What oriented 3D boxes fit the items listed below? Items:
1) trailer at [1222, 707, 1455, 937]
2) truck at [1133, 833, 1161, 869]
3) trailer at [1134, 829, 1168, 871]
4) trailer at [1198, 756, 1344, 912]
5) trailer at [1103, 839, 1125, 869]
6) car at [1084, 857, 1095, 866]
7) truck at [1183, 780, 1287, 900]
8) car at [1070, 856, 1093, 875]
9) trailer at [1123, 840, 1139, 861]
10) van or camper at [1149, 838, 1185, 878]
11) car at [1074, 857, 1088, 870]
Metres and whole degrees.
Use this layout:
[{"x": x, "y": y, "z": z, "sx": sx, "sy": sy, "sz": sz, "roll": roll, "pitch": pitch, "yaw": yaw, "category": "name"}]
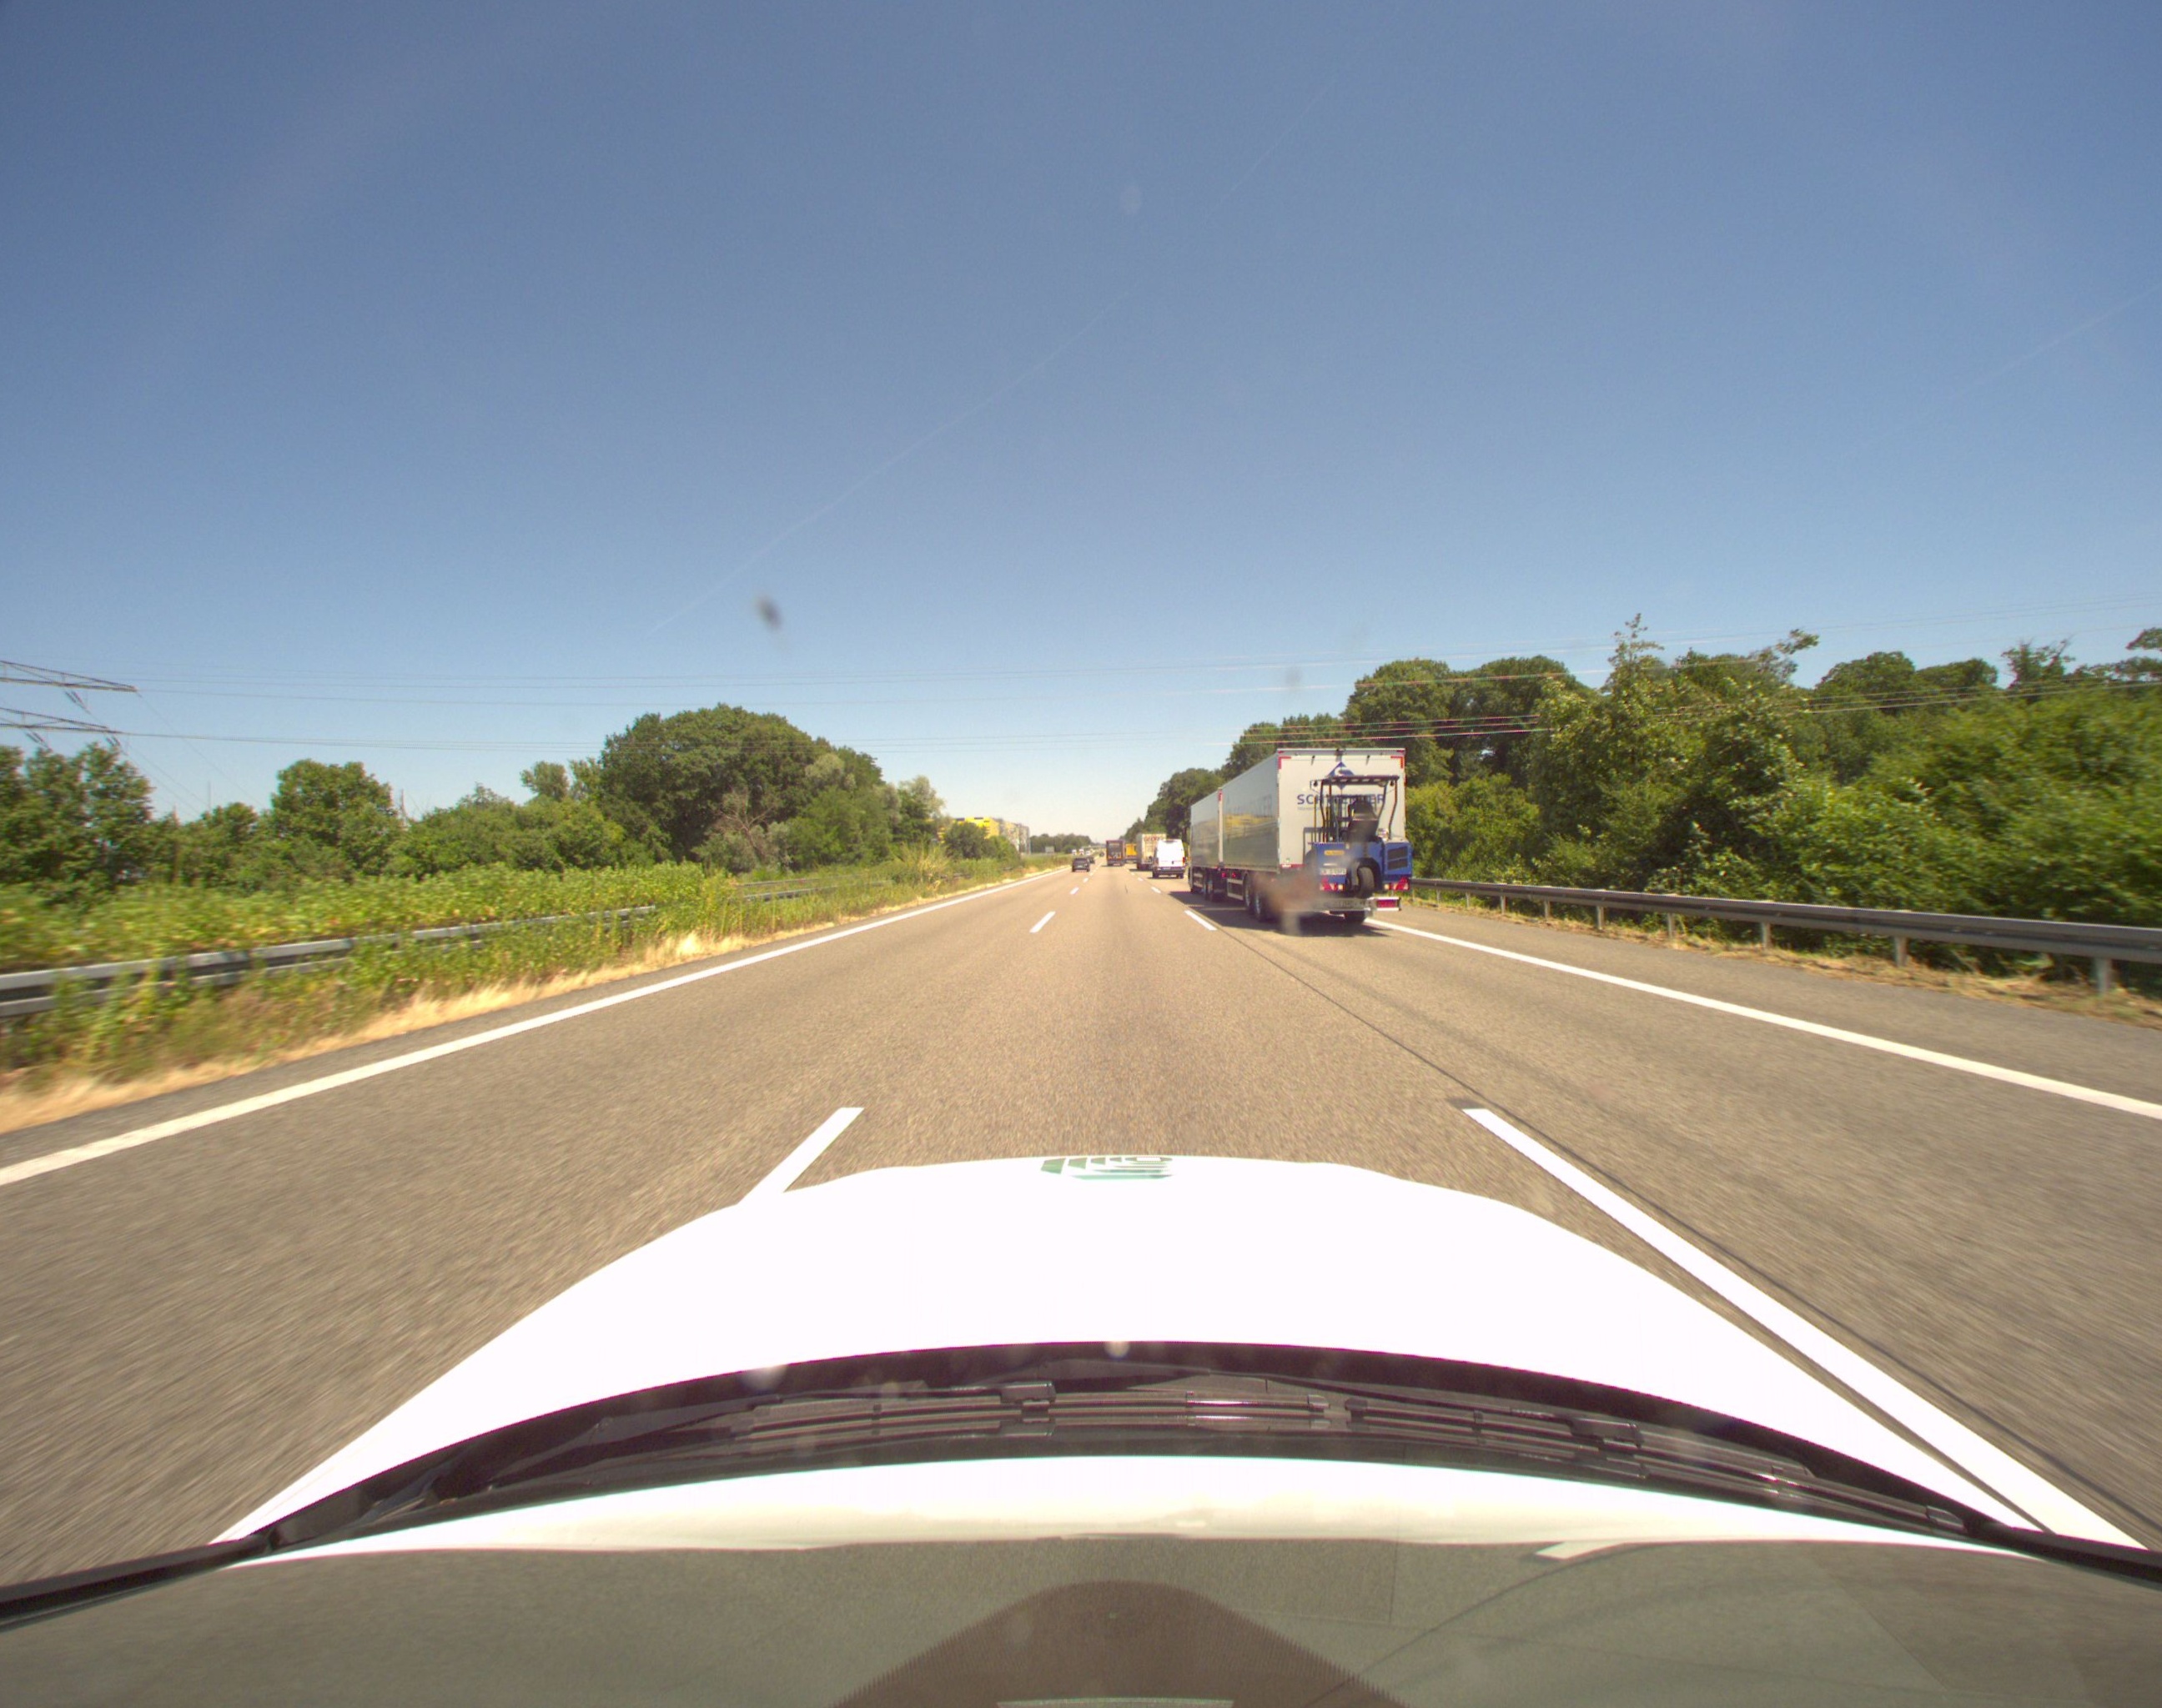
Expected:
[{"x": 5.279, "y": -0.550, "z": 18.556, "sx": 2.934, "sy": 4.063, "sz": 8.131, "roll": -1, "pitch": 0, "yaw": 2, "category": "trailer"}, {"x": 7.819, "y": -0.331, "z": 96.448, "sx": 2.991, "sy": 4.125, "sz": 5.255, "roll": -1, "pitch": 0, "yaw": 2, "category": "truck"}, {"x": 7.565, "y": -0.387, "z": 89.476, "sx": 2.982, "sy": 4.289, "sz": 13.423, "roll": -1, "pitch": 0, "yaw": 2, "category": "trailer"}, {"x": 5.471, "y": -0.506, "z": 24.883, "sx": 2.909, "sy": 4.041, "sz": 7.319, "roll": -1, "pitch": 0, "yaw": 2, "category": "trailer"}, {"x": 5.168, "y": 0.030, "z": 129.722, "sx": 3.095, "sy": 4.506, "sz": 14.899, "roll": -1, "pitch": 0, "yaw": 1, "category": "trailer"}, {"x": 1.632, "y": 1.423, "z": 159.849, "sx": 1.934, "sy": 1.706, "sz": 4.001, "roll": -2, "pitch": 0, "yaw": 2, "category": "car"}, {"x": 5.621, "y": -0.467, "z": 30.971, "sx": 2.878, "sy": 4.030, "sz": 6.873, "roll": -1, "pitch": 0, "yaw": 2, "category": "truck"}, {"x": 0.092, "y": 1.210, "z": 86.502, "sx": 2.208, "sy": 1.790, "sz": 5.395, "roll": -2, "pitch": 0, "yaw": 2, "category": "car"}, {"x": 9.950, "y": -0.637, "z": 163.053, "sx": 2.824, "sy": 3.953, "sz": 11.688, "roll": -1, "pitch": 0, "yaw": 2, "category": "trailer"}, {"x": 6.005, "y": 0.259, "z": 57.779, "sx": 2.015, "sy": 2.637, "sz": 6.489, "roll": -1, "pitch": 0, "yaw": 2, "category": "van or camper"}, {"x": 0.046, "y": 1.401, "z": 118.504, "sx": 1.986, "sy": 1.728, "sz": 4.131, "roll": -1, "pitch": 0, "yaw": 1, "category": "car"}]
